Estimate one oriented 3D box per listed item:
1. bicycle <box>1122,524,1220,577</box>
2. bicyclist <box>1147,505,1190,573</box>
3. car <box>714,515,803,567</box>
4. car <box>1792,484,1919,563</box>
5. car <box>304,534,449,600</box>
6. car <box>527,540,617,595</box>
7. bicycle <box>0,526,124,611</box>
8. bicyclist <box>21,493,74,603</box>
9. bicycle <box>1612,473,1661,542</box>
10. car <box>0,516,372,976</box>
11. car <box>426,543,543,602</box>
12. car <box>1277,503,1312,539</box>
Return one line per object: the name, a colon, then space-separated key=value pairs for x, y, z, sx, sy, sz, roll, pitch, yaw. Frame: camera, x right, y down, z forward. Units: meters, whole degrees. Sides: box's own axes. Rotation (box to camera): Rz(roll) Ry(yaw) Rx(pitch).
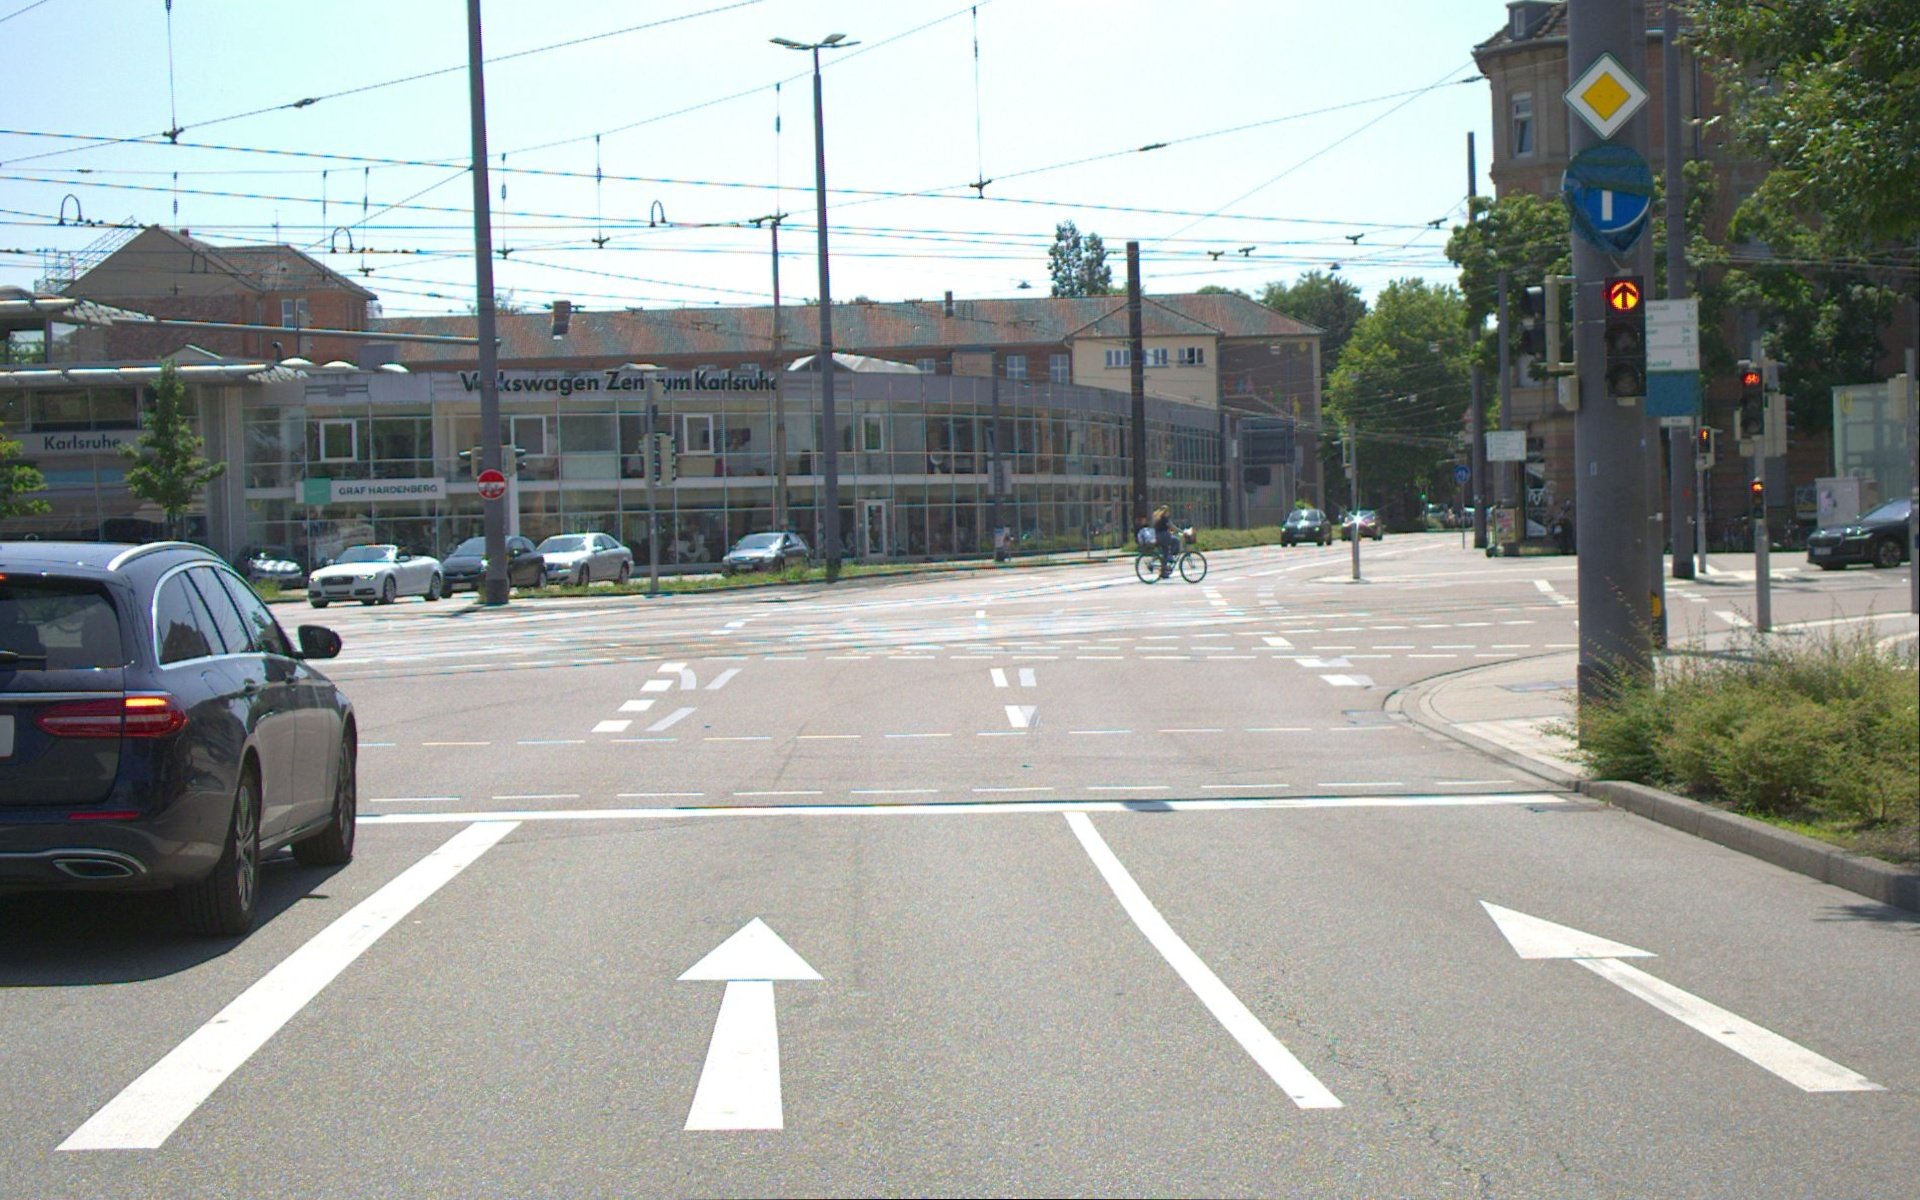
bicycle: x=4.687 y=-1.098 z=76.470 sx=2.160 sy=1.103 sz=0.457 roll=-2 pitch=3 yaw=-19
bicyclist: x=4.637 y=-1.364 z=76.447 sx=0.731 sy=1.474 sz=0.656 roll=-2 pitch=3 yaw=-20
car: x=-6.028 y=-1.783 z=103.353 sx=1.572 sy=1.422 sz=3.611 roll=0 pitch=3 yaw=15
car: x=18.669 y=-1.544 z=67.929 sx=4.100 sy=1.446 sz=1.698 roll=-2 pitch=3 yaw=-21
car: x=-13.177 y=-0.771 z=77.831 sx=1.620 sy=1.385 sz=4.122 roll=-1 pitch=1 yaw=15
car: x=-10.132 y=-0.862 z=89.902 sx=1.432 sy=1.281 sz=3.260 roll=0 pitch=3 yaw=10
bicycle: x=-16.474 y=-0.563 z=61.564 sx=2.825 sy=1.458 sz=0.634 roll=-1 pitch=3 yaw=-4
bicyclist: x=-16.340 y=-0.937 z=61.552 sx=0.763 sy=1.931 sz=0.660 roll=-1 pitch=3 yaw=-3
bicycle: x=18.498 y=-2.549 z=94.081 sx=0.612 sy=1.782 sz=3.182 roll=-1 pitch=3 yaw=-2
car: x=-3.572 y=0.468 z=14.002 sx=1.716 sy=1.551 sz=4.587 roll=-1 pitch=1 yaw=-2
car: x=-11.570 y=-0.685 z=83.800 sx=1.539 sy=1.273 sz=3.537 roll=0 pitch=3 yaw=15
car: x=14.893 y=-3.516 z=152.912 sx=1.531 sy=1.454 sz=3.552 roll=0 pitch=3 yaw=6
